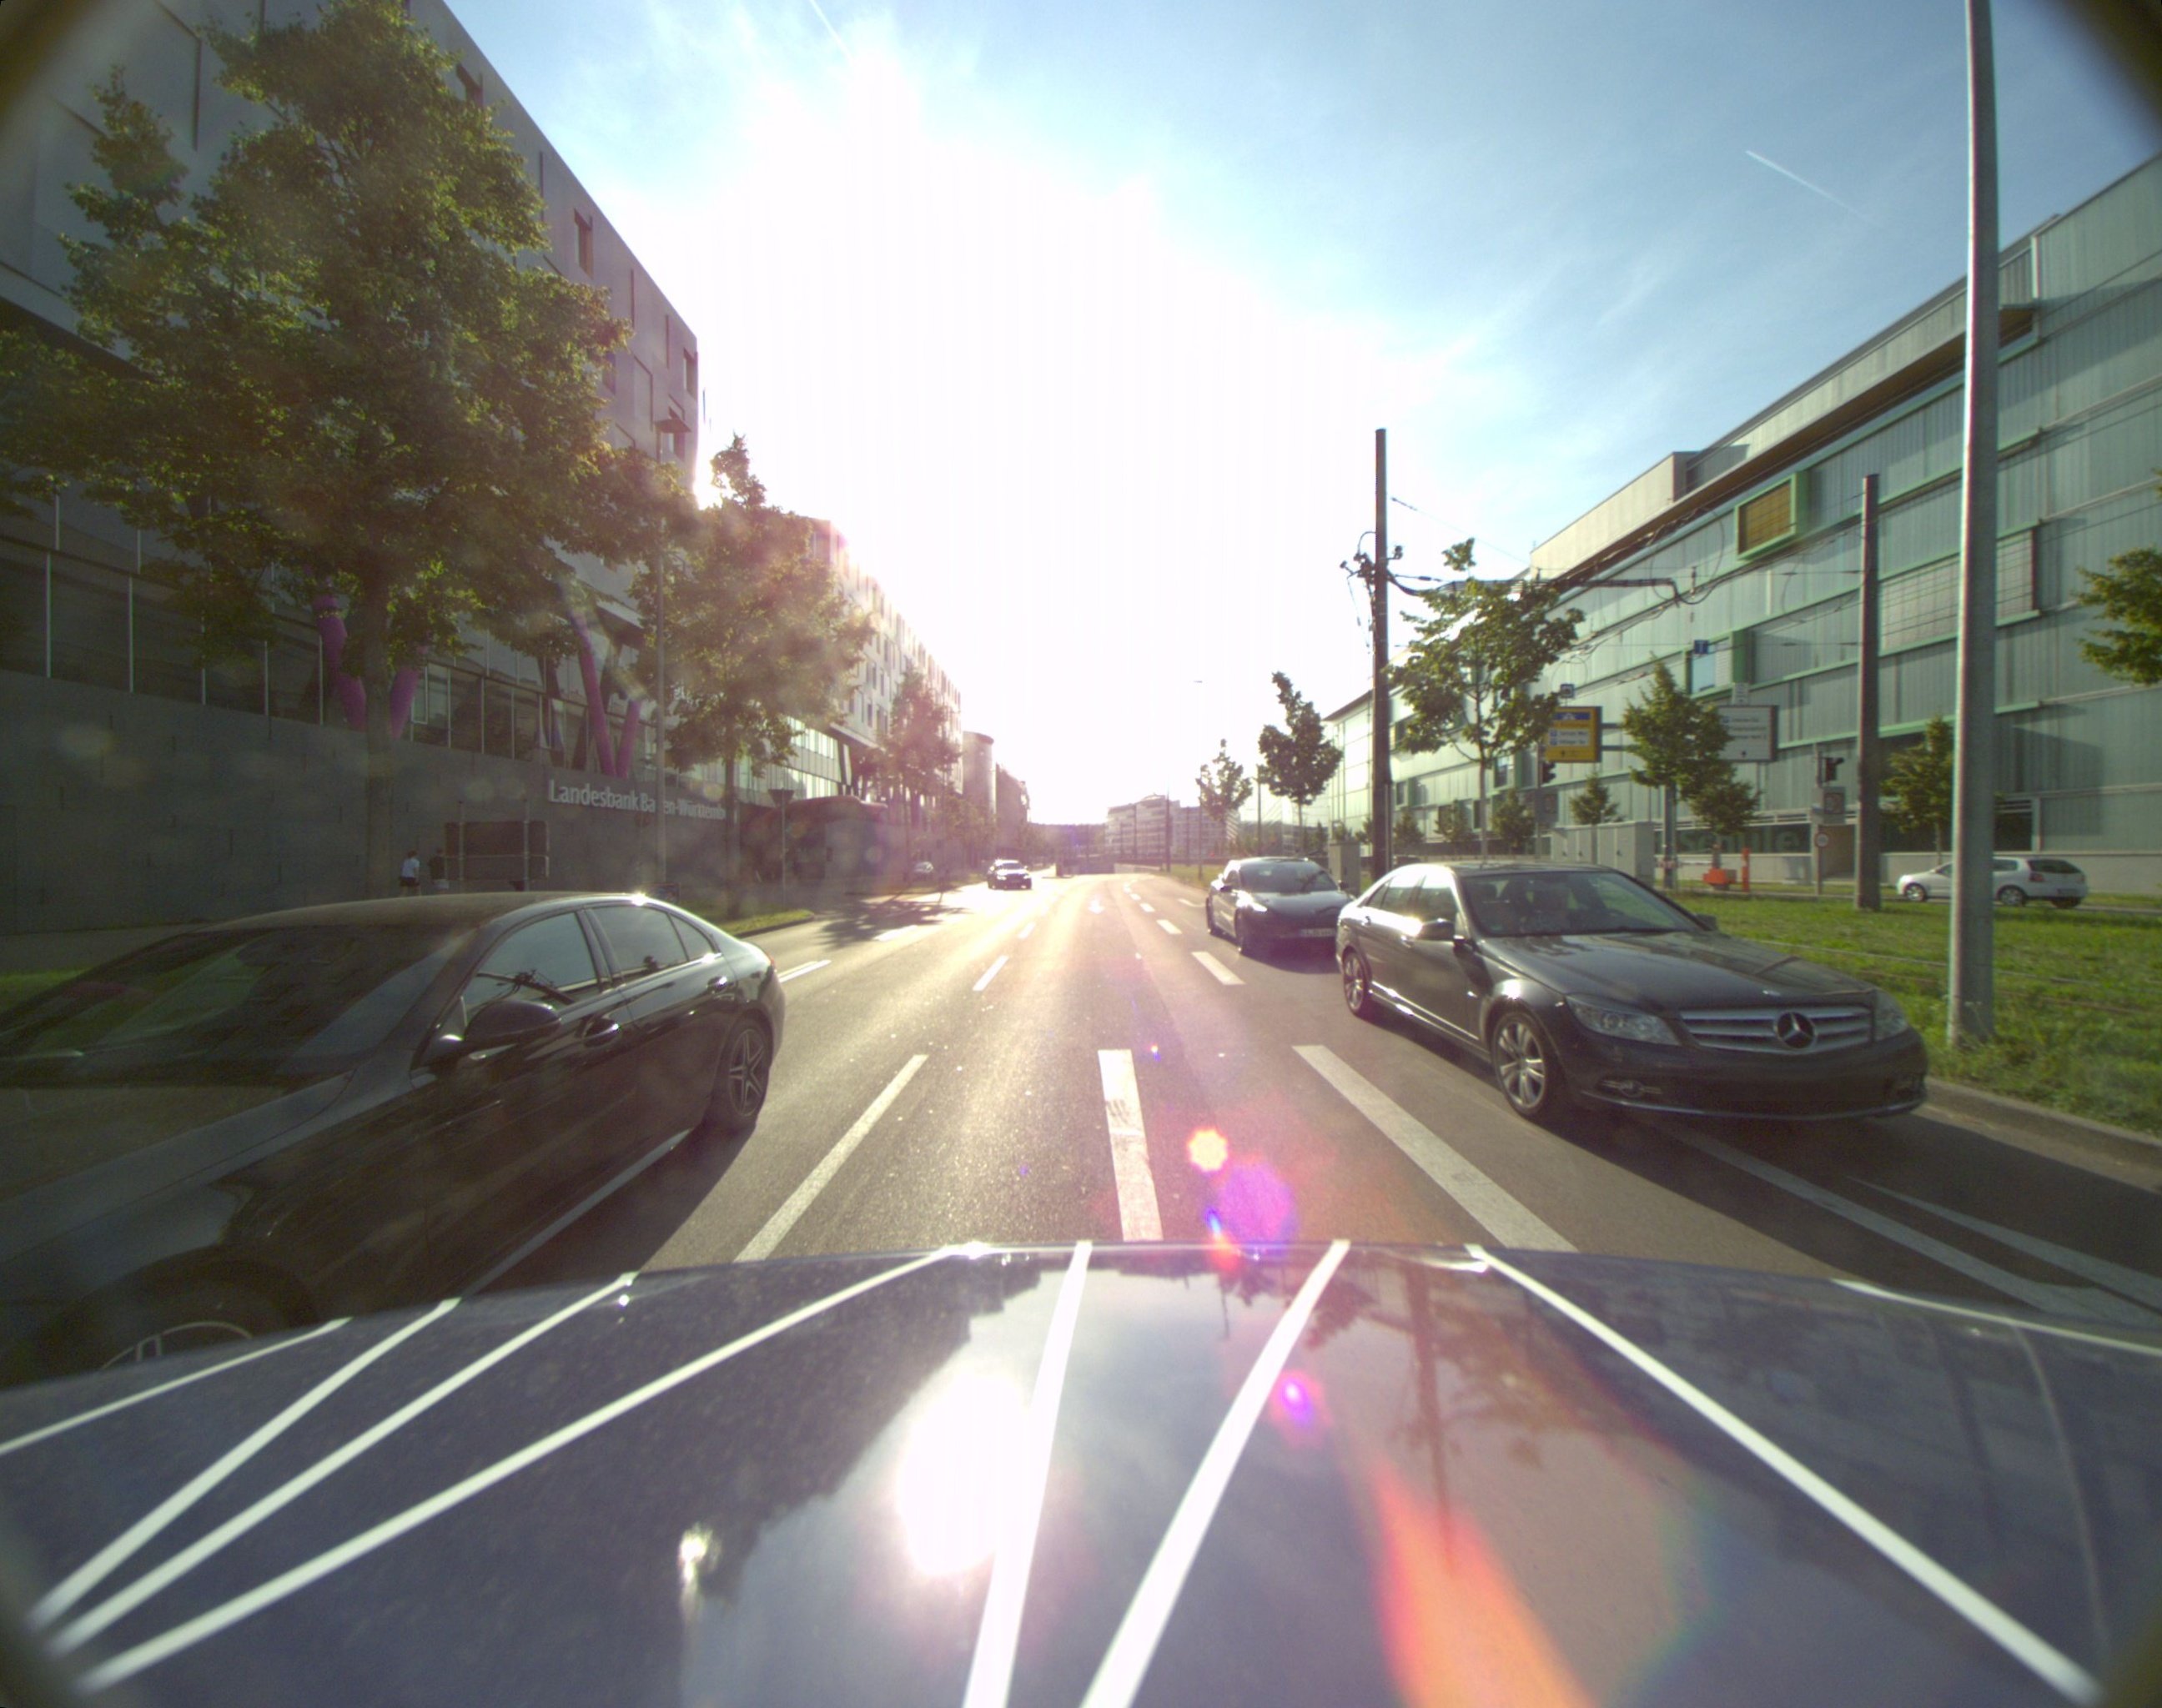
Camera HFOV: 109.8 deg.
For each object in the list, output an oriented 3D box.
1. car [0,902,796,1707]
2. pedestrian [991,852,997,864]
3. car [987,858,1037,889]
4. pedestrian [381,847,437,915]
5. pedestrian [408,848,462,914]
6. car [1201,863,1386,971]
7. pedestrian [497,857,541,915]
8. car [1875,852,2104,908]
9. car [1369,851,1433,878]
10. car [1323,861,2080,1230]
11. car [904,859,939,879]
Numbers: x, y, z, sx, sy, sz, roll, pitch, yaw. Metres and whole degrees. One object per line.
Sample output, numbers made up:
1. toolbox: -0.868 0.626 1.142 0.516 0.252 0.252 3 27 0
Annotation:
1. car: -2.899 1.047 2.858 1.843 1.441 4.556 -2 0 1
2. pedestrian: -13.399 0.599 116.948 0.725 1.776 0.771 0 1 0
3. car: -3.703 0.984 39.848 1.897 1.418 4.467 -2 1 -14
4. pedestrian: -18.688 0.737 21.133 0.770 1.814 0.853 2 0 0
5. pedestrian: -18.009 0.742 21.209 0.756 1.783 0.844 2 0 0
6. car: 3.228 0.887 12.490 1.894 1.377 4.335 -2 0 1
7. pedestrian: -16.066 0.894 21.725 0.695 1.629 0.736 0 1 0
8. car: 27.215 0.734 23.023 1.882 1.519 4.223 0 0 -1
9. car: 20.470 0.646 48.873 1.998 1.674 4.995 0 0 0
10. car: 3.284 0.825 5.355 1.791 1.470 4.354 -2 0 1
11. car: -11.602 1.060 55.597 1.696 1.382 4.199 0 -1 -1
